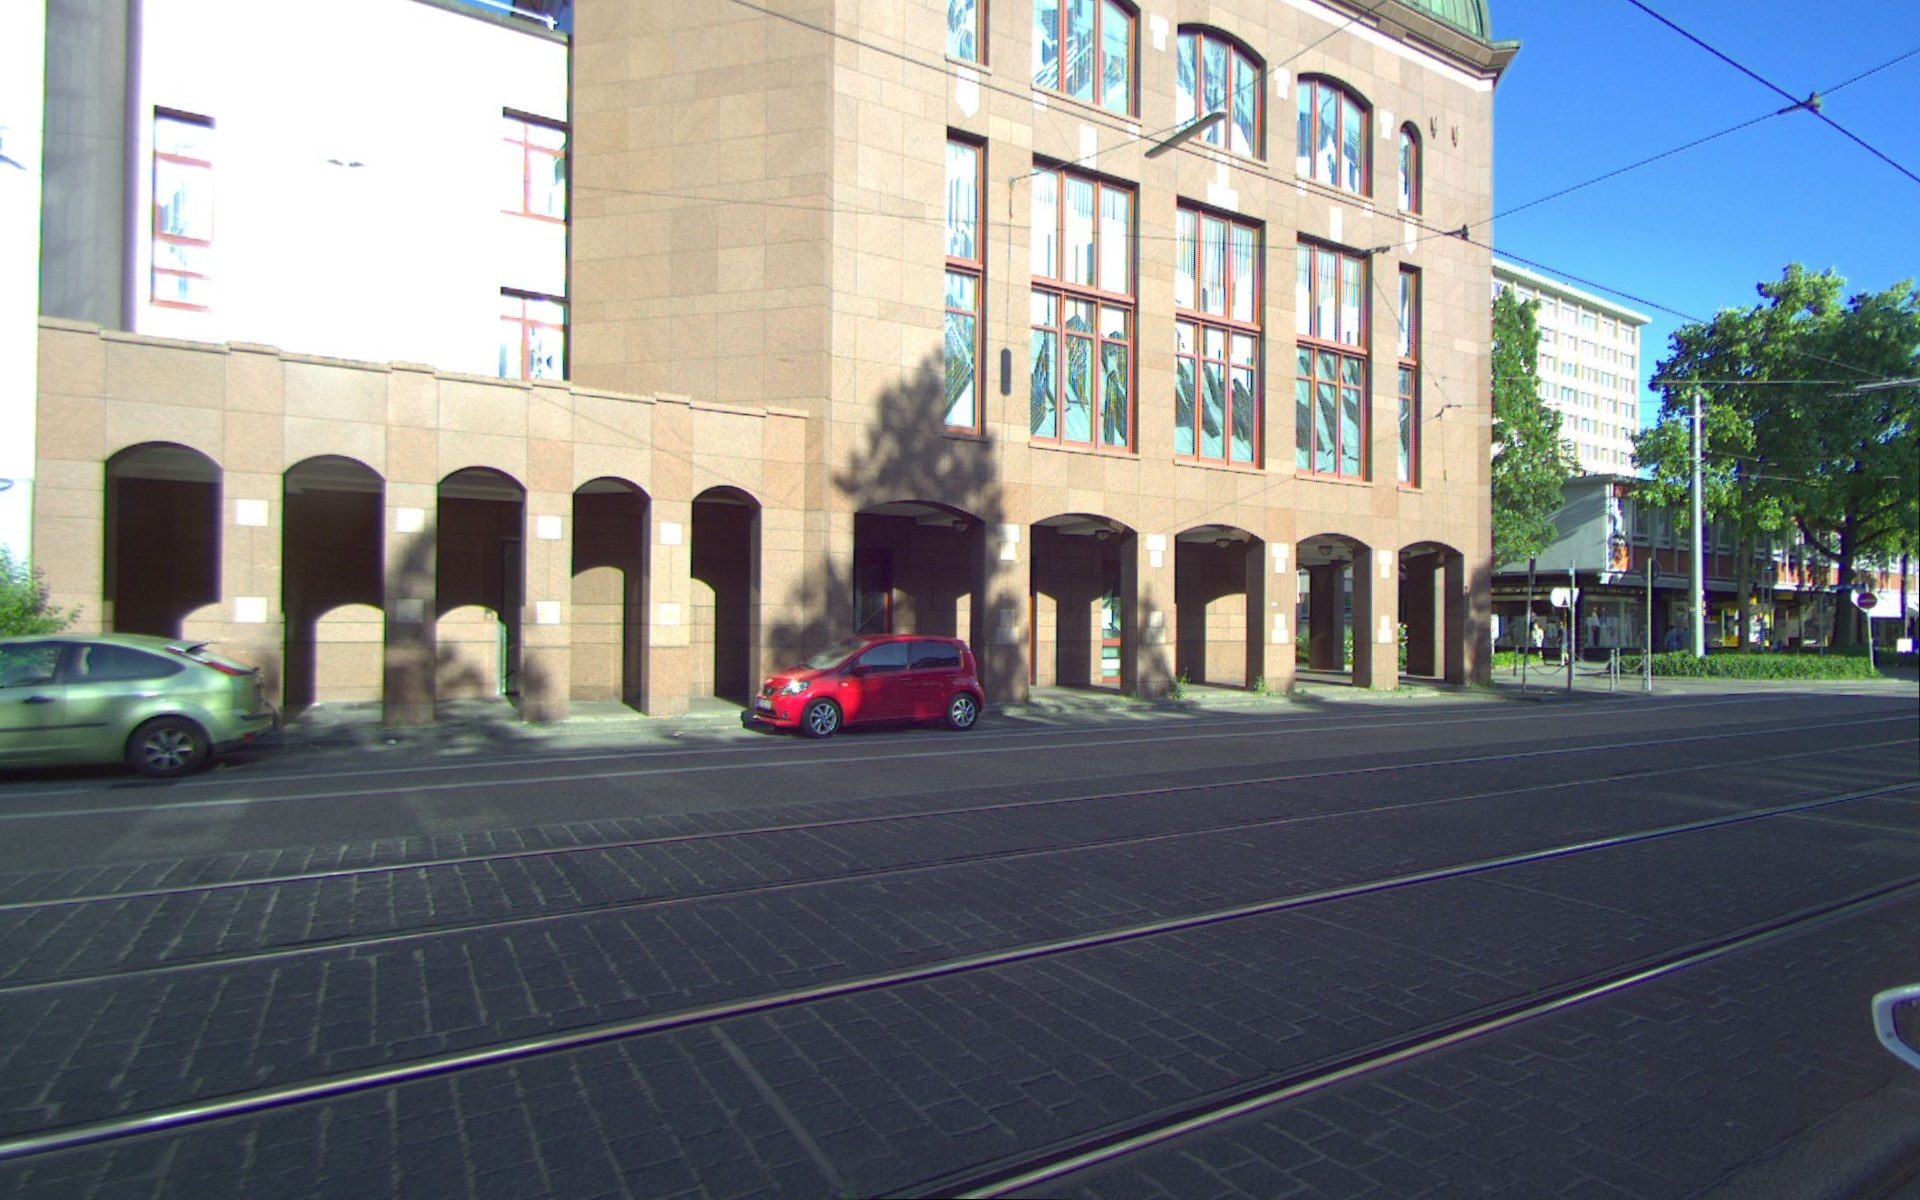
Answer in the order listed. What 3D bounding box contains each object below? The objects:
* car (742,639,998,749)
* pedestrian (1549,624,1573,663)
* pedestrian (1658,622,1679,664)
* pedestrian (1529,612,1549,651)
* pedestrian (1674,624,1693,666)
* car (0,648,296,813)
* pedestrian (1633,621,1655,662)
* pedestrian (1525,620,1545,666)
[{"bbox_3d":[-1.362,1.362,15.526,3.578,1.441,1.651,1,0,-31],"label":"car"},{"bbox_3d":[26.311,1.904,43.968,0.697,1.716,0.523,0,-2,-6],"label":"pedestrian"},{"bbox_3d":[32.362,1.953,45.878,0.533,1.897,0.586,0,1,-39],"label":"pedestrian"},{"bbox_3d":[27.893,1.512,48.382,0.532,1.808,0.588,1,1,-30],"label":"pedestrian"},{"bbox_3d":[32.740,2.032,45.439,0.583,1.826,0.541,0,1,-39],"label":"pedestrian"},{"bbox_3d":[-9.573,1.310,10.519,4.240,1.488,1.660,1,0,-31],"label":"car"},{"bbox_3d":[31.986,1.920,46.989,0.666,1.872,0.623,1,1,-33],"label":"pedestrian"},{"bbox_3d":[26.436,1.968,46.197,0.591,2.094,0.669,1,1,15],"label":"pedestrian"}]
